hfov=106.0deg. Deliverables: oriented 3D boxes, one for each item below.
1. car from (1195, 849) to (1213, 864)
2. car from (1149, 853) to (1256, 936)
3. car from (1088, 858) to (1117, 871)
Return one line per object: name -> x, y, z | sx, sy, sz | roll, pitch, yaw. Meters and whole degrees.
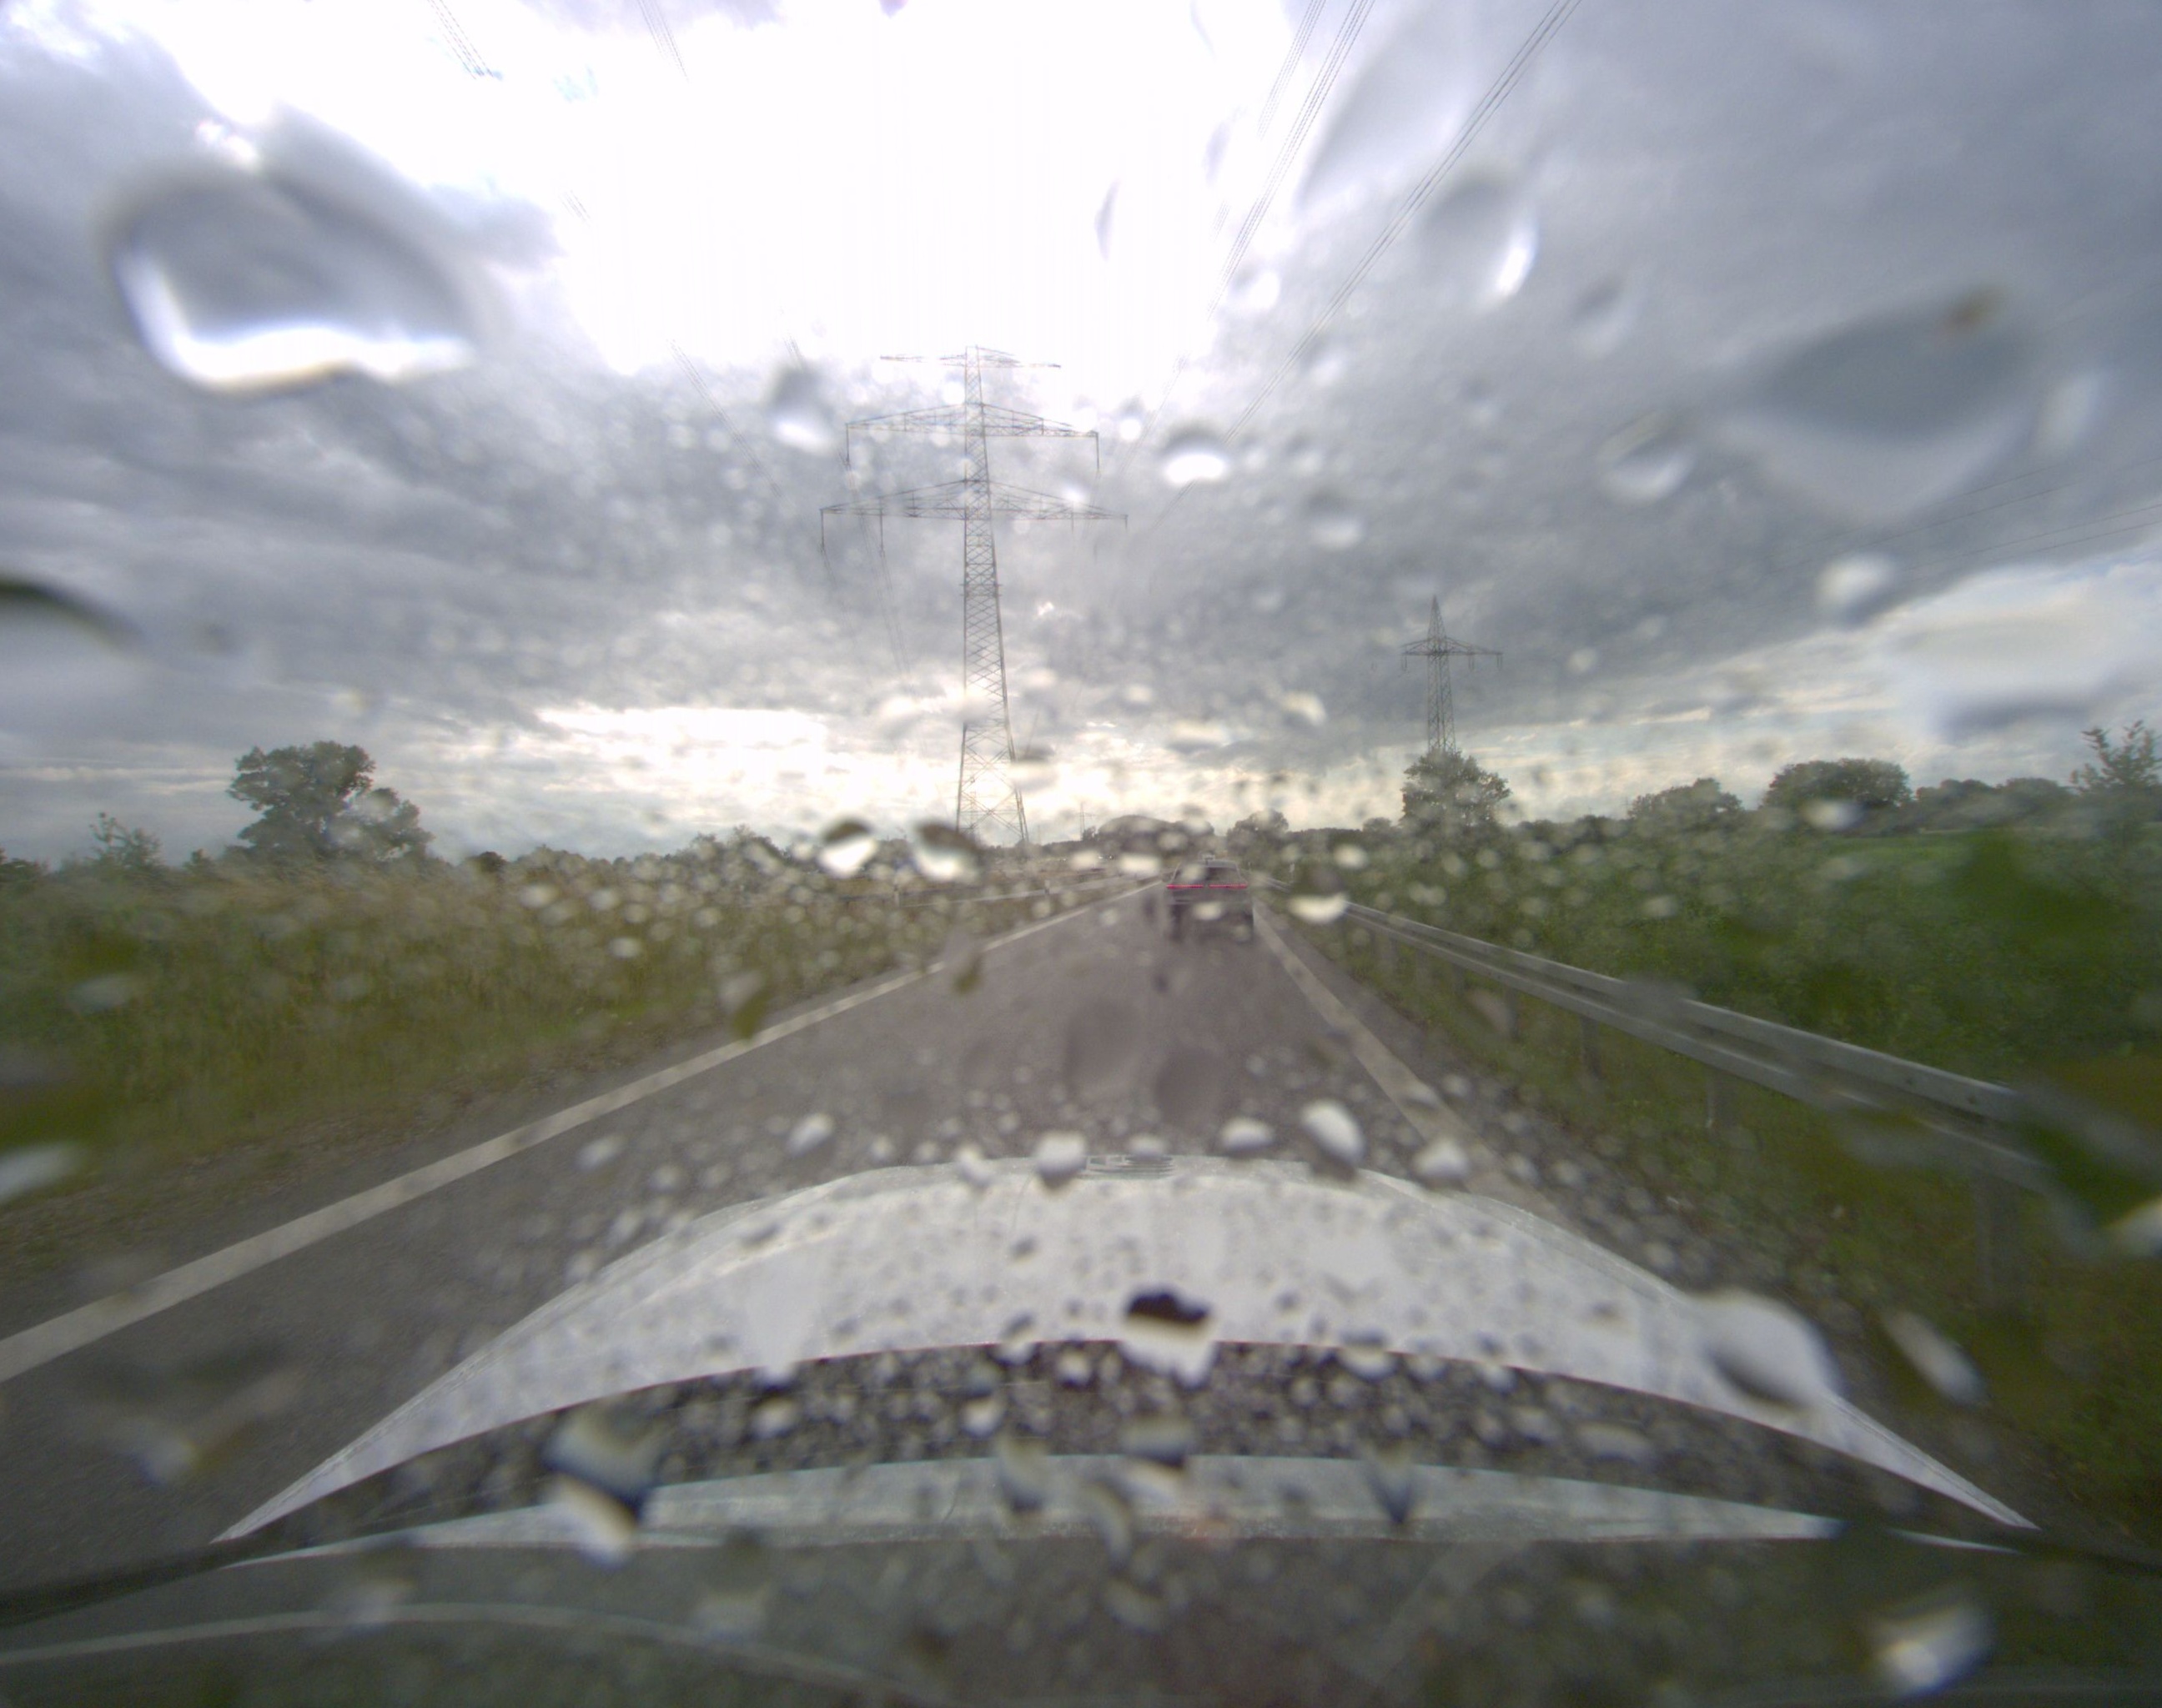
car -> 27.550, 0.543, 182.801 | 3.124, 2.951, 7.212 | -2, 1, 1
car -> 2.633, 0.784, 17.593 | 1.982, 1.566, 4.159 | -1, 0, 9
car -> 6.430, 3.184, 244.441 | 3.414, 3.610, 8.932 | -2, -1, -44
